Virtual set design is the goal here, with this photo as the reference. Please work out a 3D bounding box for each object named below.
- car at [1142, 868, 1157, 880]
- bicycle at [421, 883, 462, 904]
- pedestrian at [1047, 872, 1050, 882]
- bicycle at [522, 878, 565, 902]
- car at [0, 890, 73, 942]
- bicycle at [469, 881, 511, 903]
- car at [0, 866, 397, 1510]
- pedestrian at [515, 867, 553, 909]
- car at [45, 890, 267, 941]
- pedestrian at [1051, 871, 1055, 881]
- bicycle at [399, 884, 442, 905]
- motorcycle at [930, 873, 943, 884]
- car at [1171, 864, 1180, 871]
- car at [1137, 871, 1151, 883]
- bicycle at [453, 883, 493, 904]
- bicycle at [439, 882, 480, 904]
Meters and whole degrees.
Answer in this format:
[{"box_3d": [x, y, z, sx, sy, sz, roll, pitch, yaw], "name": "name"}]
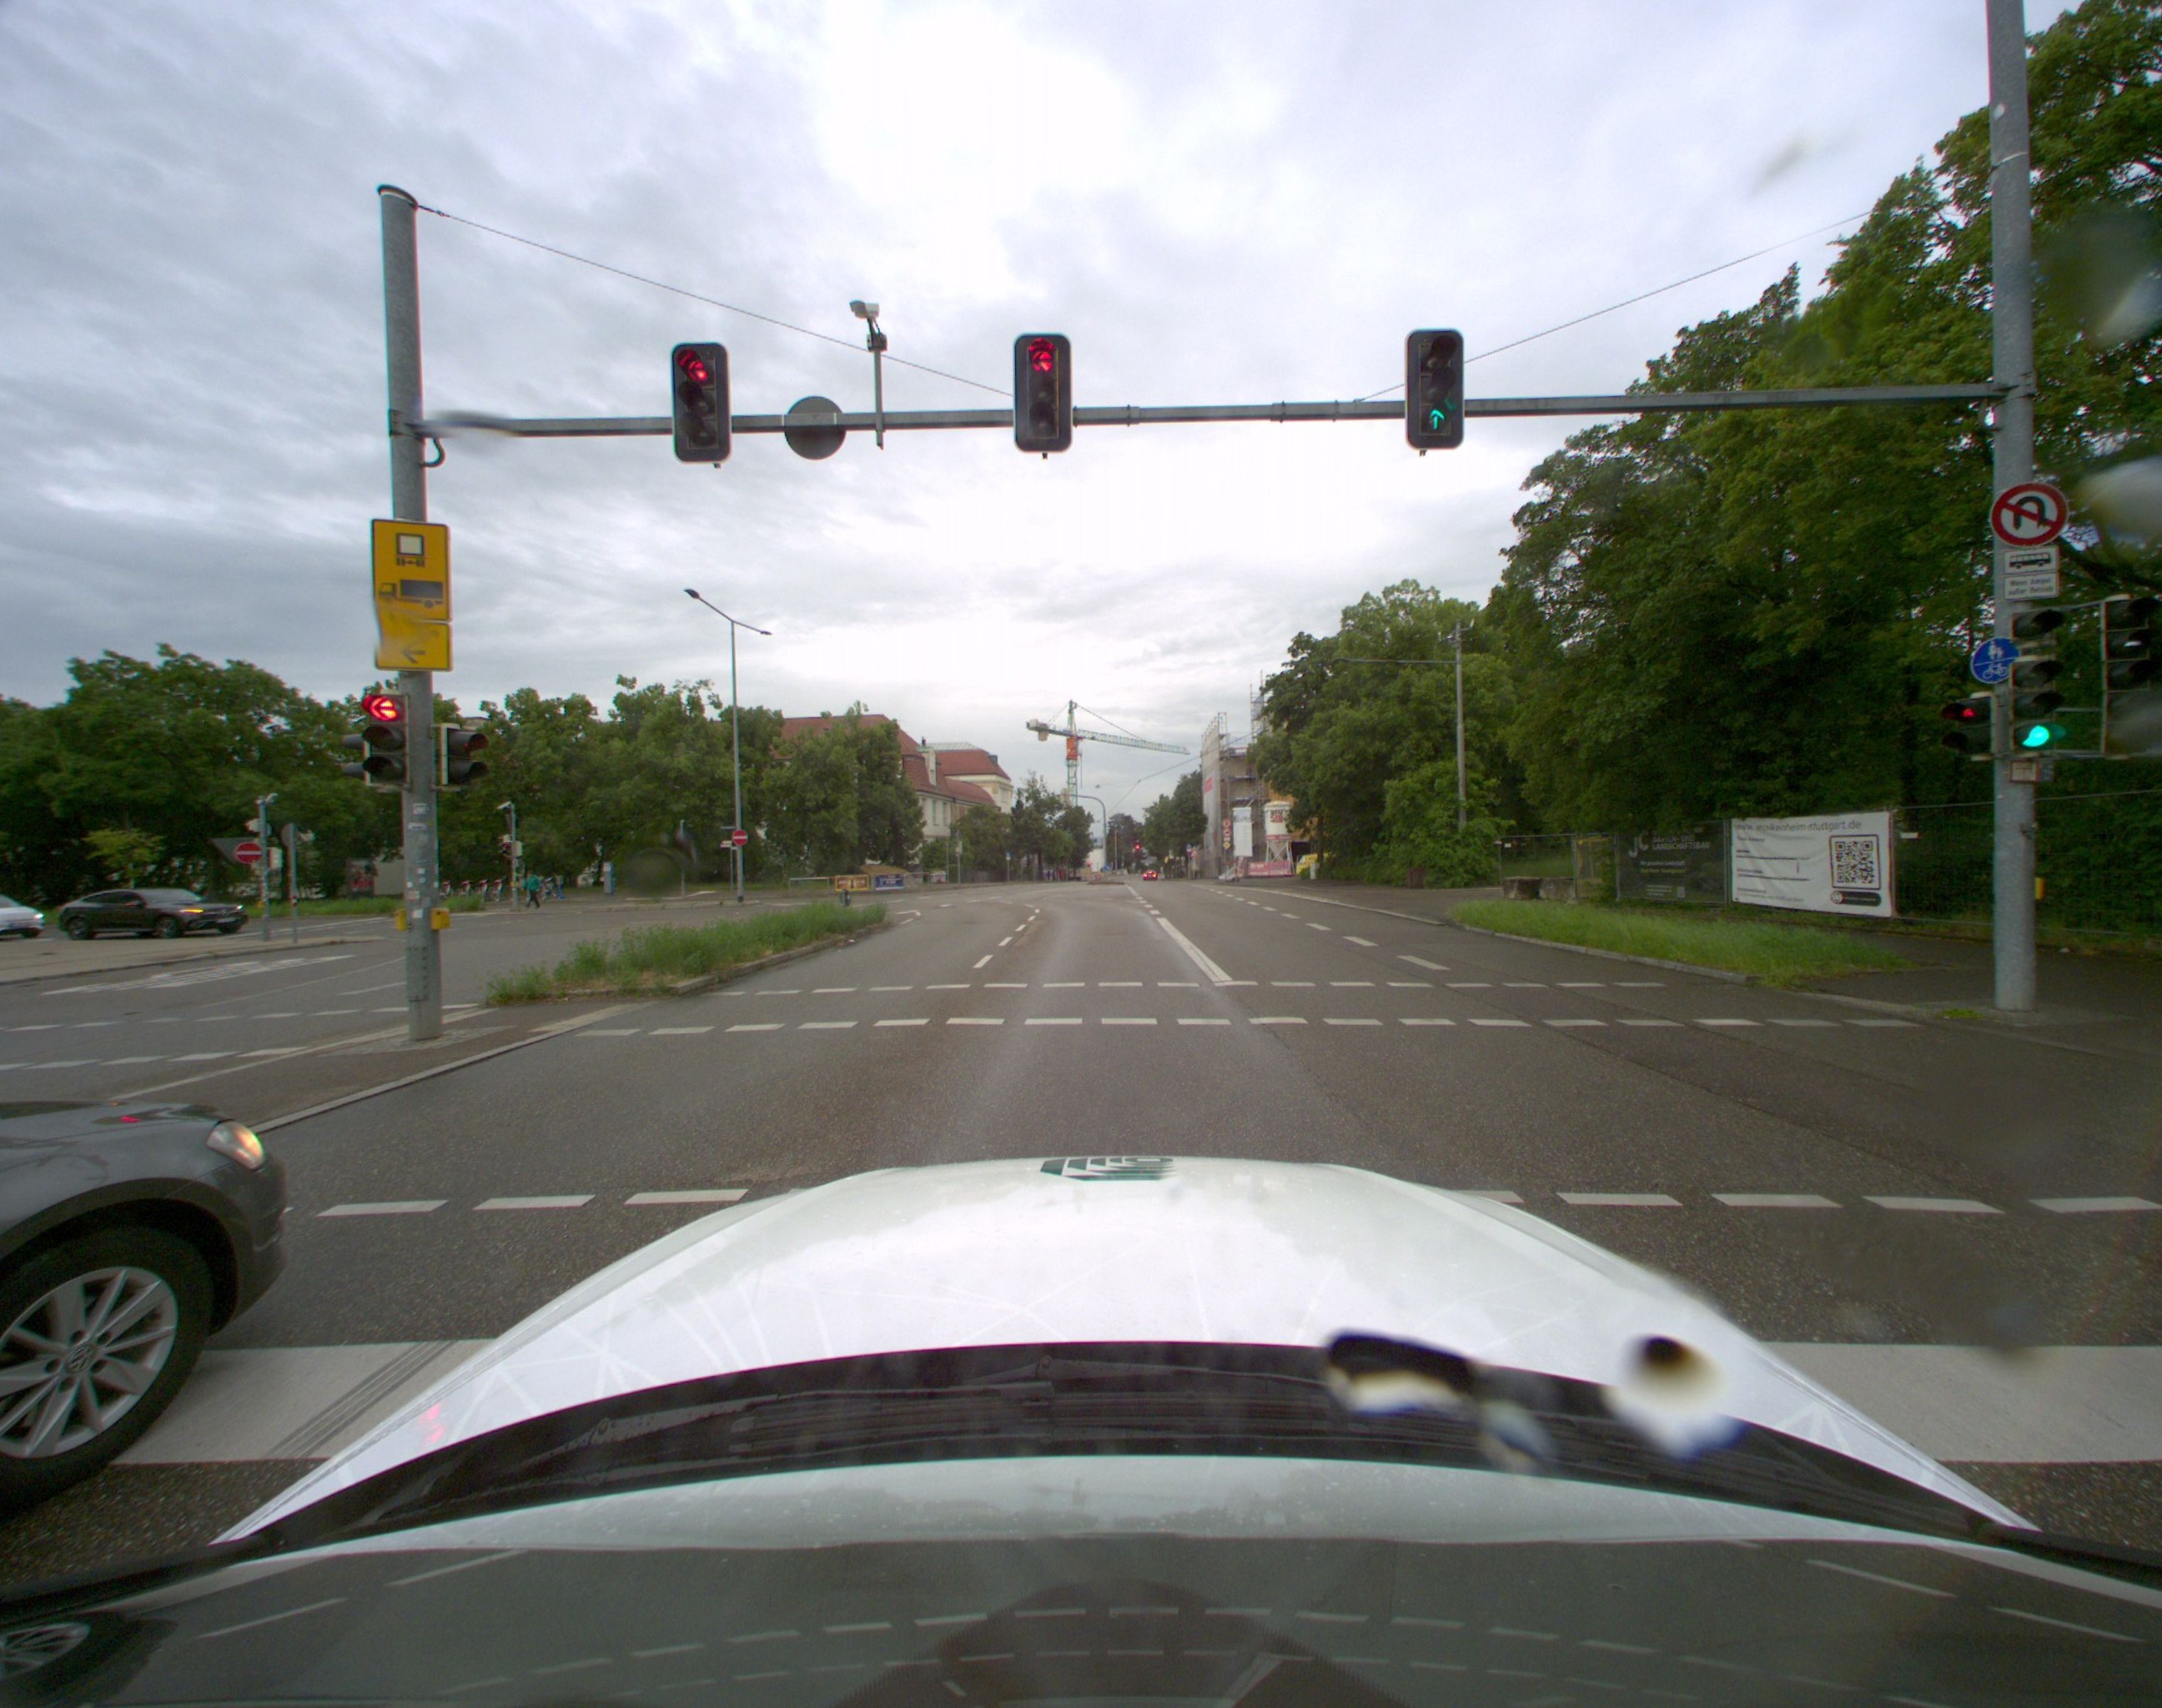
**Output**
[{"box_3d": [10.472, 3.039, 124.974, 1.986, 1.750, 4.001, -2, 0, 1], "name": "car"}, {"box_3d": [-34.990, 2.143, 44.583, 0.649, 1.071, 1.982, 0, -1, 2], "name": "bicycle"}, {"box_3d": [-4.991, 3.546, 124.881, 0.473, 1.396, 0.411, -2, 0, 1], "name": "pedestrian"}, {"box_3d": [-29.439, 1.948, 44.617, 0.987, 1.249, 1.982, 0, -1, 2], "name": "bicycle"}, {"box_3d": [-36.499, 2.037, 27.052, 3.539, 1.594, 2.001, 0, -1, 1], "name": "car"}, {"box_3d": [-32.272, 2.068, 44.509, 0.798, 1.071, 1.982, 0, -1, 2], "name": "bicycle"}, {"box_3d": [-3.468, 0.803, 0.777, 1.809, 1.481, 4.378, -2, 0, 2], "name": "car"}, {"box_3d": [-23.152, 1.421, 34.493, 0.918, 1.727, 0.947, 0, -1, 4], "name": "pedestrian"}, {"box_3d": [-30.078, 1.985, 26.588, 5.006, 1.500, 2.001, 0, -1, 1], "name": "car"}, {"box_3d": [-4.303, 3.373, 124.899, 0.492, 1.645, 0.533, 0, -1, -4], "name": "pedestrian"}, {"box_3d": [-35.967, 2.179, 44.368, 0.649, 1.071, 1.982, 0, -1, 2], "name": "bicycle"}, {"box_3d": [-11.595, 1.980, 65.230, 0.846, 0.877, 0.877, 0, -1, 1], "name": "motorcycle"}, {"box_3d": [25.509, 3.508, 218.941, 1.980, 1.750, 4.014, -2, 0, 13], "name": "car"}, {"box_3d": [10.216, 3.664, 131.776, 1.986, 1.750, 4.001, -2, 0, 1], "name": "car"}, {"box_3d": [-33.021, 2.119, 44.277, 0.649, 1.071, 1.982, 0, -1, 2], "name": "bicycle"}, {"box_3d": [-33.911, 2.115, 44.452, 0.649, 1.071, 1.982, 0, -1, 2], "name": "bicycle"}]
